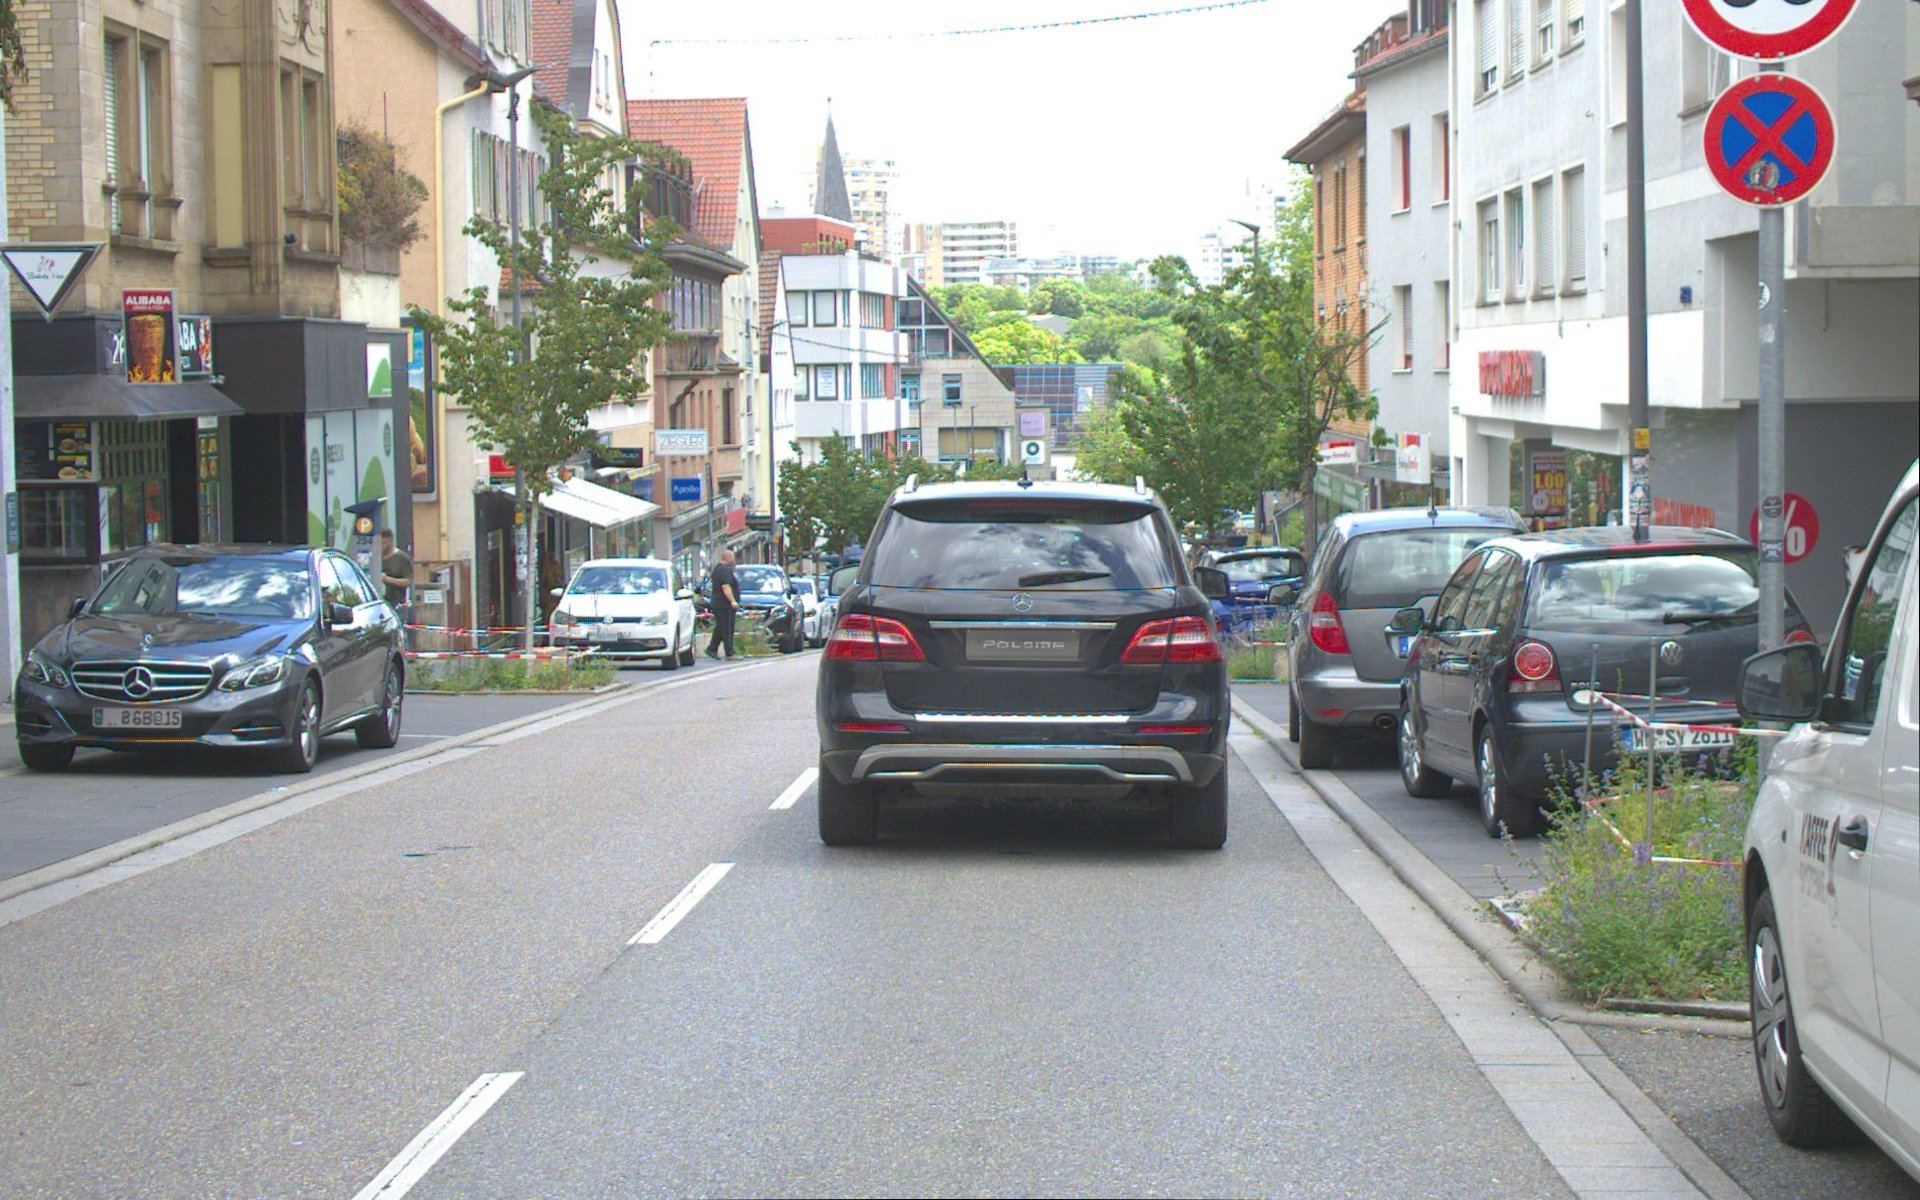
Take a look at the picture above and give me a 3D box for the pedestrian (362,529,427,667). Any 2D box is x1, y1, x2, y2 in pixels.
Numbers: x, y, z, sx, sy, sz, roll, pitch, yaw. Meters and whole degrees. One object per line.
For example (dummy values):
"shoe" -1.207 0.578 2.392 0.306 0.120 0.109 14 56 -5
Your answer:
"pedestrian" -6.107 -0.023 37.152 0.491 1.458 0.559 2 0 11

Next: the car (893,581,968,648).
"car" -0.788 0.368 88.769 1.819 1.612 4.136 -2 0 -1

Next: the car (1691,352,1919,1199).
"car" 2.707 0.439 6.855 1.877 1.793 4.731 0 1 5

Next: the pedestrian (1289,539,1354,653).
"pedestrian" 5.060 -0.059 48.175 0.756 1.555 0.817 -2 0 -1

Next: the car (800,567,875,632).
"car" -3.262 -0.044 92.092 1.926 1.590 4.458 2 1 -2

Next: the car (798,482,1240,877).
"car" 0.326 0.300 17.291 1.943 1.734 4.179 0 1 2

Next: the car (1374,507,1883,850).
"car" 3.284 0.326 17.627 1.748 1.503 3.875 -2 1 -1

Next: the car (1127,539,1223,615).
"car" 4.549 -0.511 73.152 1.748 1.460 4.075 -4 1 1

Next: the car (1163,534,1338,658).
"car" 3.839 -0.030 45.964 1.748 1.492 3.800 -3 -1 -3

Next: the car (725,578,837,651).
"car" -3.675 0.274 71.165 1.926 1.425 4.262 0 1 2

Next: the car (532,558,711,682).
"car" -4.488 0.231 46.144 1.926 1.506 4.262 1 1 0

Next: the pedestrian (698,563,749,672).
"pedestrian" -3.630 0.263 52.769 0.737 1.666 0.863 0 0 -1

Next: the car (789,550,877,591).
"car" -5.905 -1.367 159.957 3.986 1.744 2.000 -3 0 -2

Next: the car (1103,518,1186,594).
"car" 4.829 -1.171 90.570 1.938 1.885 4.707 -3 1 1

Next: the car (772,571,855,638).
"car" -3.589 0.085 84.710 1.926 1.491 4.262 2 1 -1

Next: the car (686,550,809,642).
"car" -3.882 -0.079 63.542 1.926 1.616 4.639 1 0 0

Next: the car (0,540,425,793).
"car" -5.032 0.366 23.477 1.926 1.487 4.843 2 1 0

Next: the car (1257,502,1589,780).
"car" 2.933 0.213 22.451 1.748 1.602 3.800 -2 1 2
